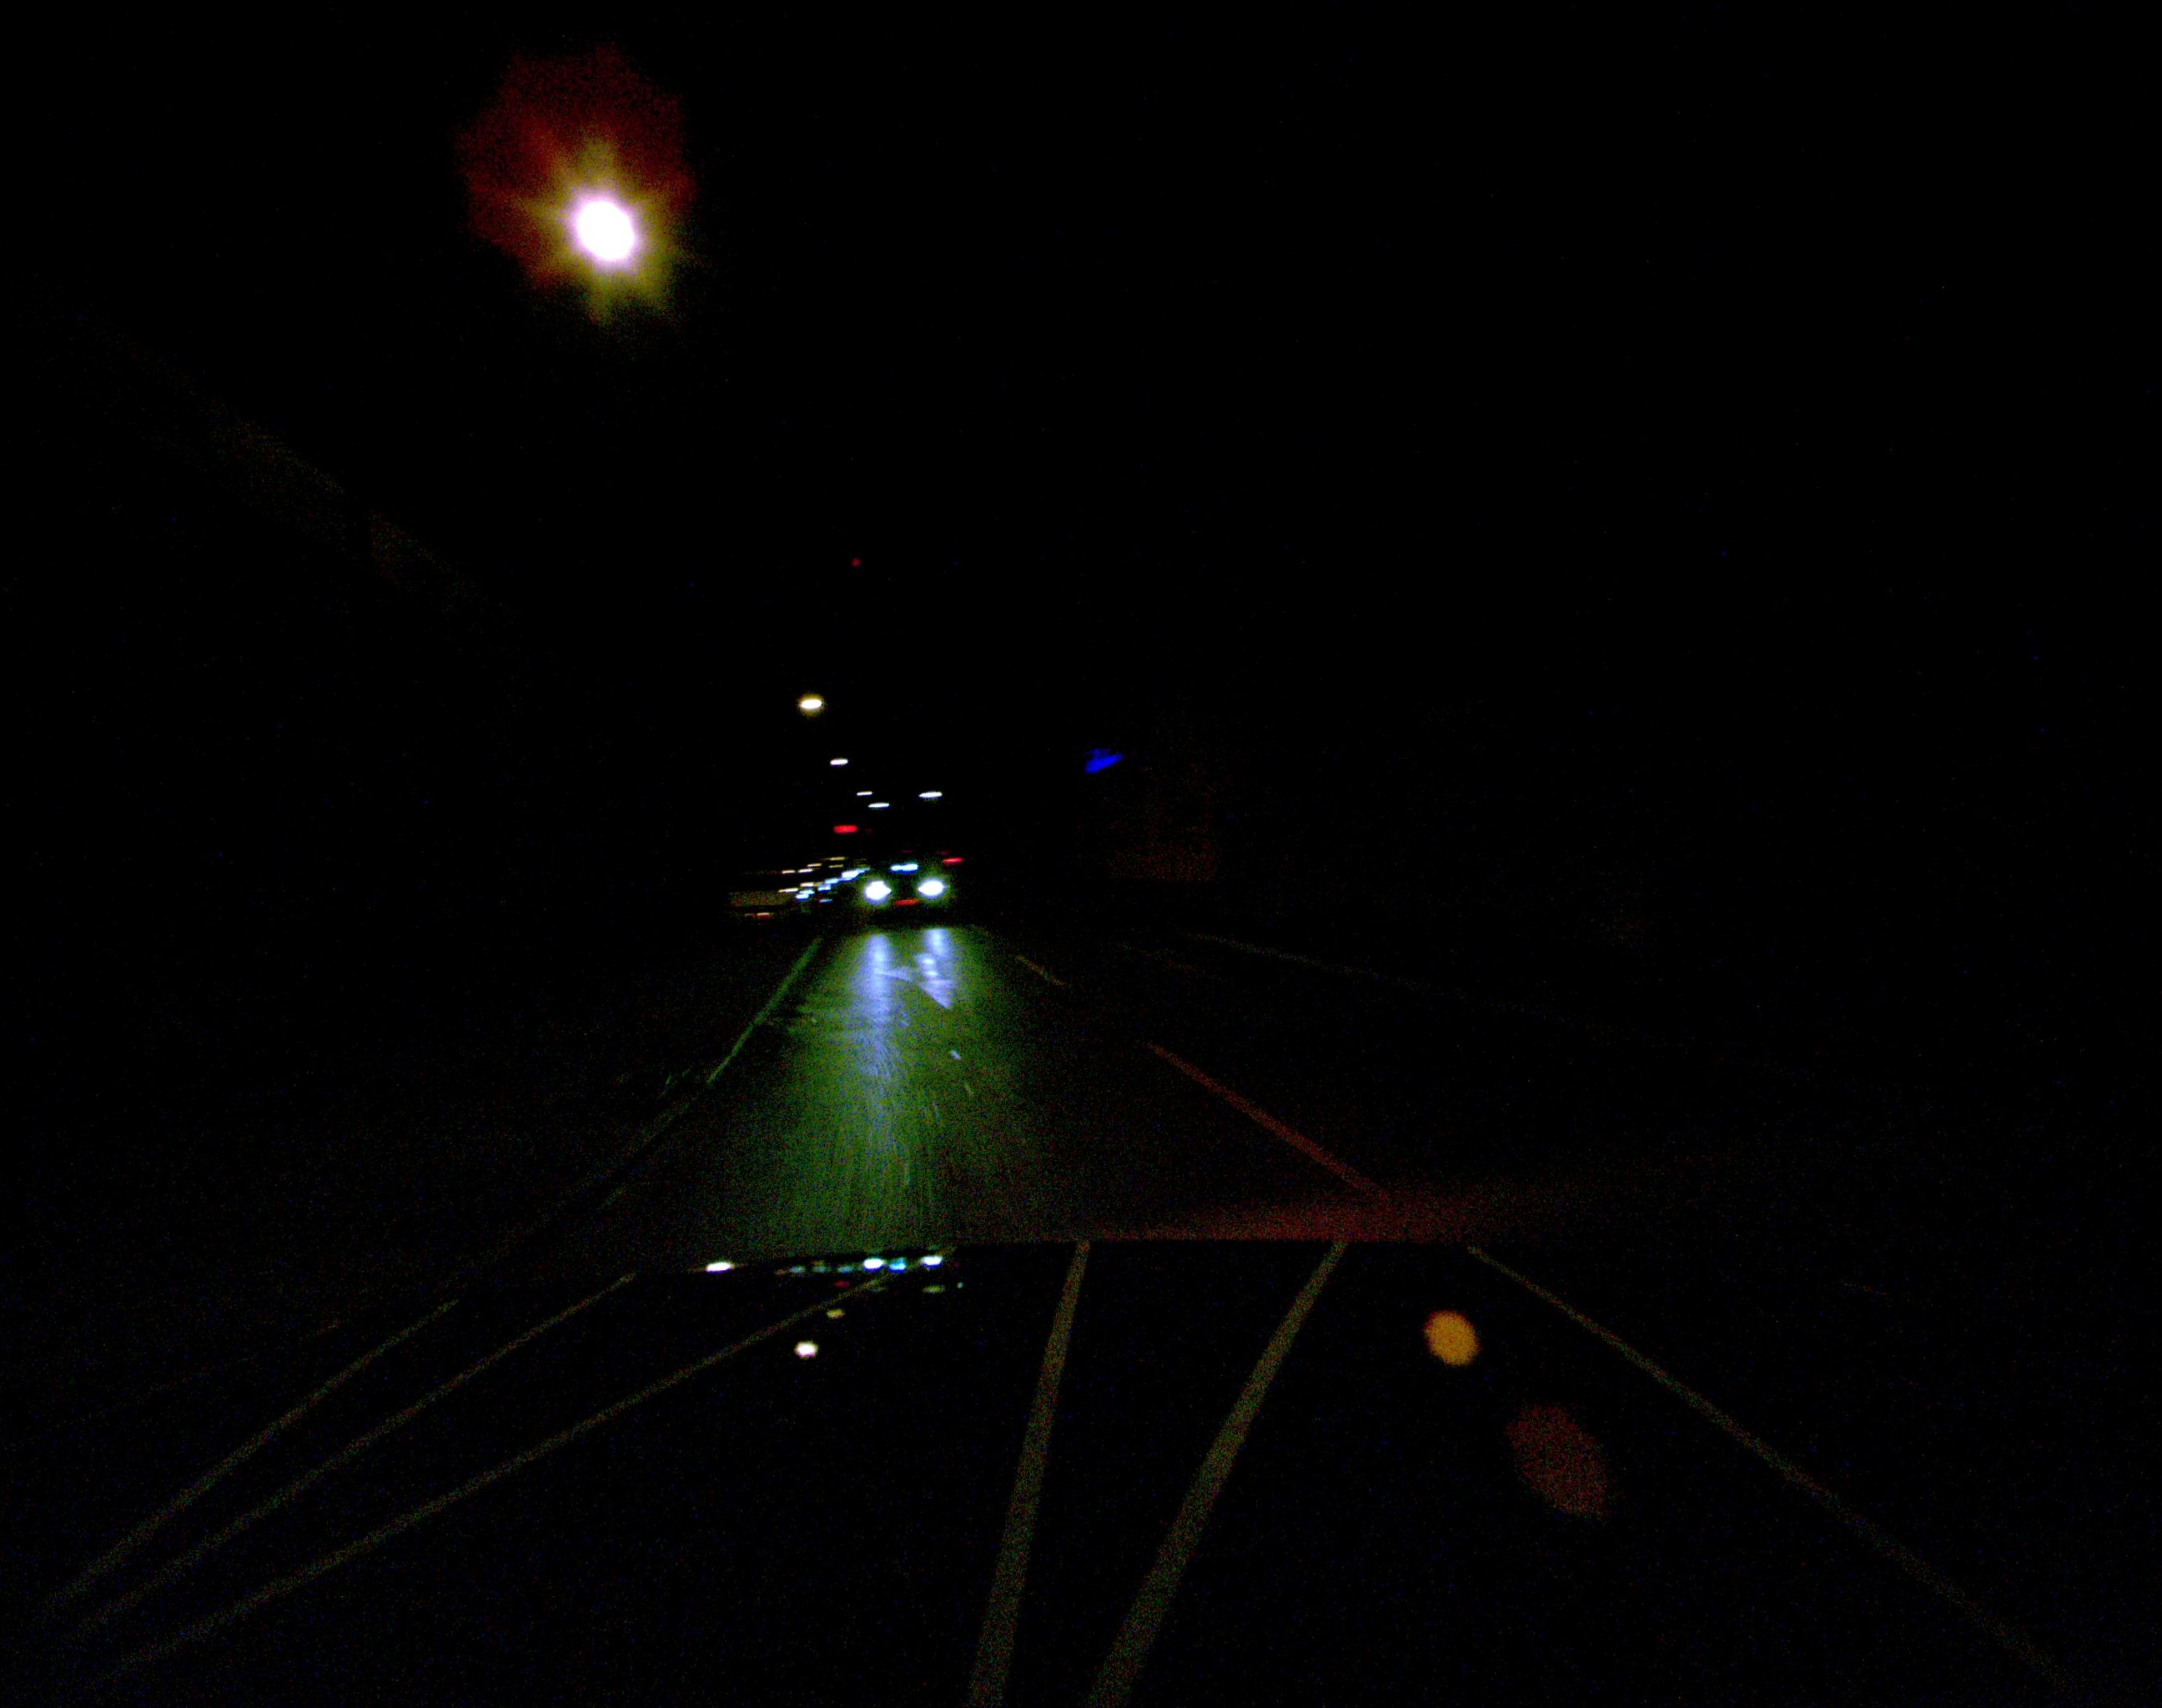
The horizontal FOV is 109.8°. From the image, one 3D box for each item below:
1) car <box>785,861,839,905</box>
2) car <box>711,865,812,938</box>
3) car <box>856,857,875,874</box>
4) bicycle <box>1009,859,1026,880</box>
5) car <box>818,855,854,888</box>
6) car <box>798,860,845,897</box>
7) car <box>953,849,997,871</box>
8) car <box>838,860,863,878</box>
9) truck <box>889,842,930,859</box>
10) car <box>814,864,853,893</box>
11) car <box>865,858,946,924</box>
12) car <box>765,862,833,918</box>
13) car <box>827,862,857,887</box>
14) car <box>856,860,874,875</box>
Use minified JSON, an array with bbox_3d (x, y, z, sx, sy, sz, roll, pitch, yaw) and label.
[{"bbox_3d":[-11.068,1.132,31.489,1.830,1.613,4.451,-2,0,-17],"label":"car"},{"bbox_3d":[-8.088,1.109,19.625,1.867,1.480,4.539,-3,1,-17],"label":"car"},{"bbox_3d":[-25.507,1.355,89.963,2.080,1.917,5.363,-1,1,-15],"label":"car"},{"bbox_3d":[-3.412,0.844,40.845,0.621,1.046,1.719,-3,1,-14],"label":"bicycle"},{"bbox_3d":[-14.739,1.040,45.891,1.807,1.864,4.767,-1,0,-15],"label":"car"},{"bbox_3d":[-12.285,1.120,36.152,1.830,1.579,4.622,-2,0,-16],"label":"car"},{"bbox_3d":[-10.426,0.561,74.787,3.997,1.878,1.908,-3,1,-2],"label":"car"},{"bbox_3d":[-19.954,1.277,65.863,1.785,1.418,4.475,-3,1,-14],"label":"car"},{"bbox_3d":[-41.091,-0.753,182.270,9.351,3.701,2.000,-2,2,1],"label":"truck"},{"bbox_3d":[-13.306,1.299,41.021,1.823,1.419,4.183,-1,0,-16],"label":"car"},{"bbox_3d":[-4.994,0.948,21.604,2.001,1.607,3.995,-2,0,-14],"label":"car"},{"bbox_3d":[-9.382,1.132,25.595,1.781,1.535,4.539,-3,1,-17],"label":"car"},{"bbox_3d":[-15.791,1.306,50.416,1.601,1.458,3.886,-3,1,-14],"label":"car"},{"bbox_3d":[-24.074,1.453,84.726,1.826,1.589,4.214,0,0,-17],"label":"car"}]
